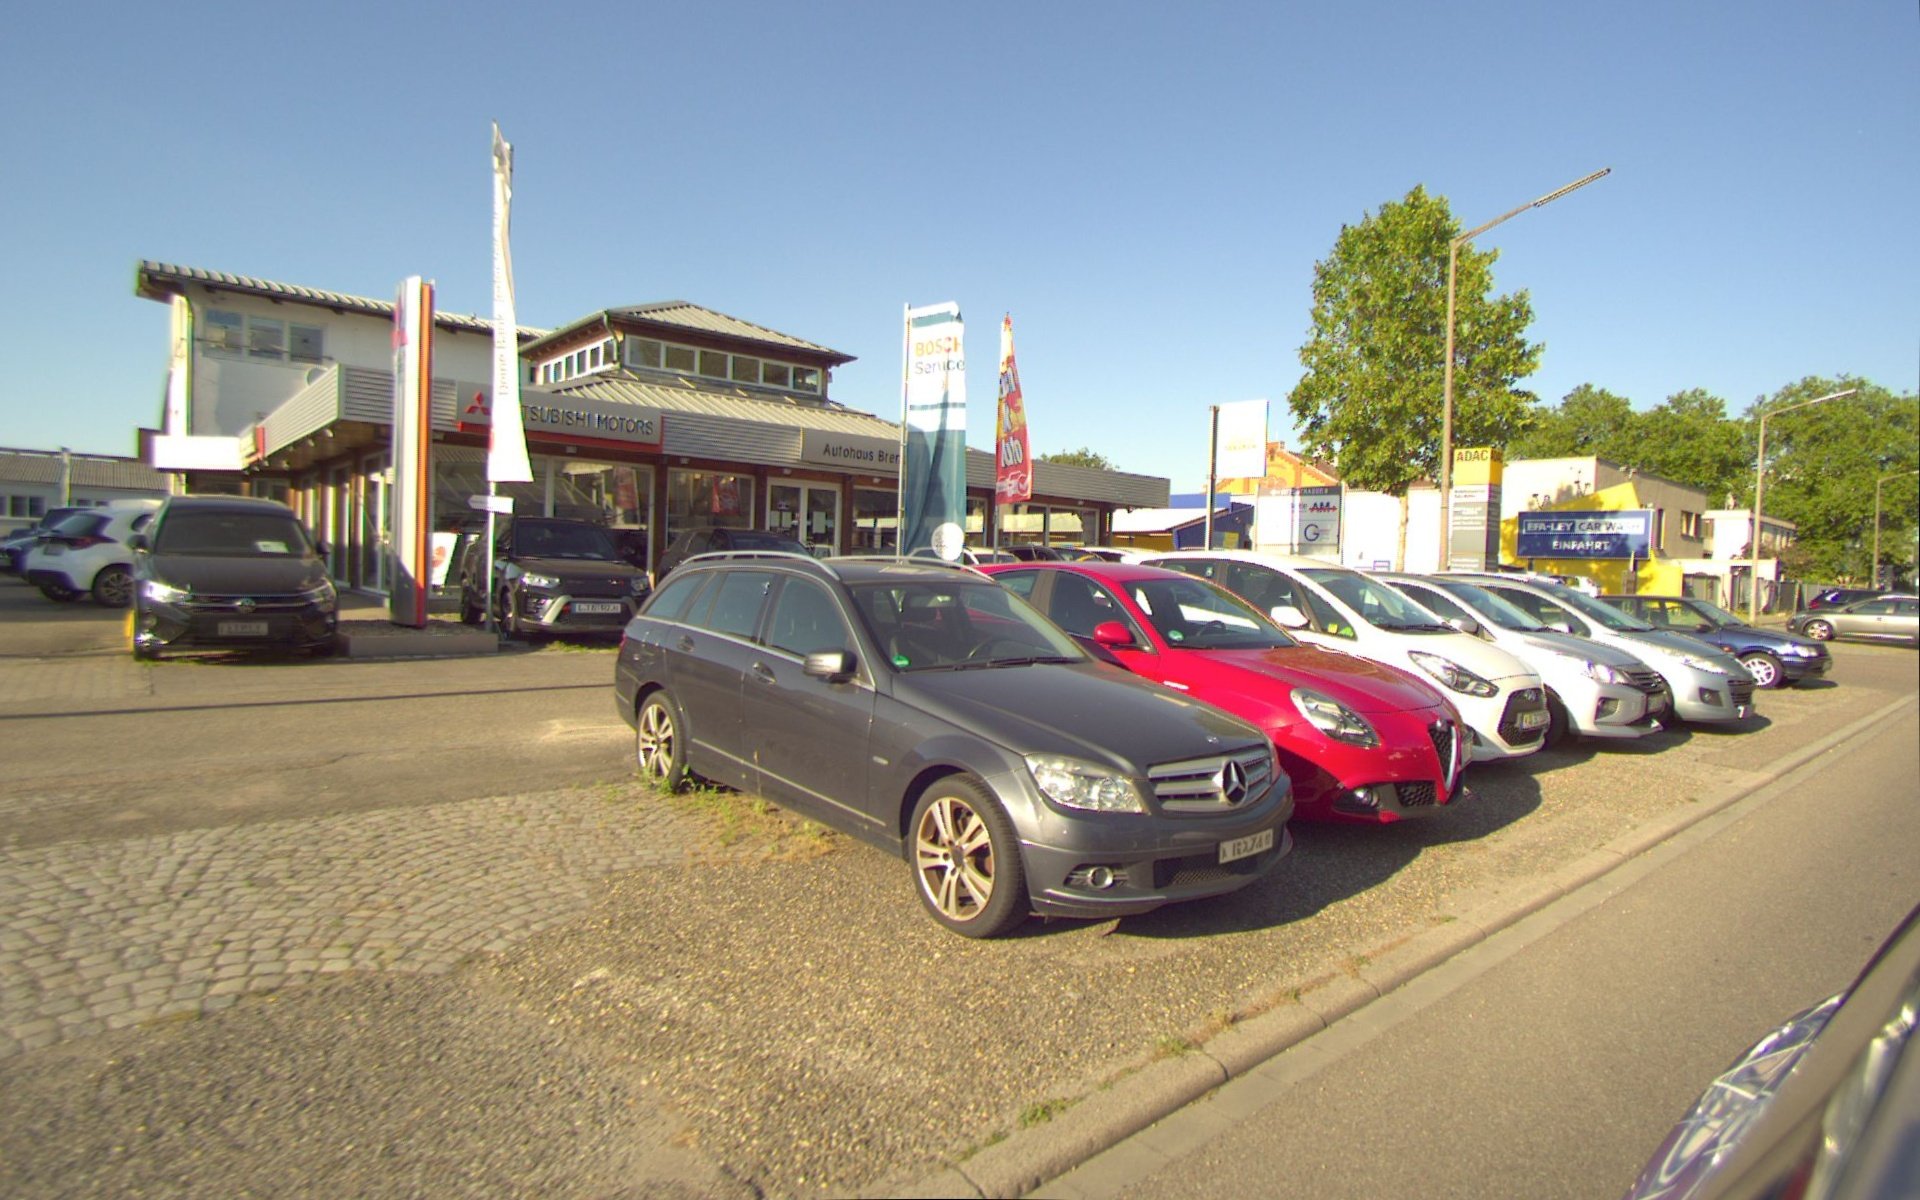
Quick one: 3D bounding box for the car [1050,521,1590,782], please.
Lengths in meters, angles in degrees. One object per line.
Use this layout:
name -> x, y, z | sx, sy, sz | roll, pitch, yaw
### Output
car -> 2.965, 0.292, 8.958 | 1.853, 1.761, 4.112 | 0, 1, -44

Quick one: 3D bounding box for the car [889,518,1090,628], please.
car -> 0.482, -0.585, 19.659 | 1.756, 1.921, 3.911 | -2, 4, -40

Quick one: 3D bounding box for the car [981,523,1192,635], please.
car -> 2.569, -0.479, 21.182 | 2.163, 1.920, 3.810 | 1, 5, -41

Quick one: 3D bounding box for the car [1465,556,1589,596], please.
car -> 22.821, -0.964, 40.826 | 1.921, 1.538, 3.990 | 0, 1, -44

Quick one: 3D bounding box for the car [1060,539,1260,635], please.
car -> 4.496, -0.319, 23.148 | 2.163, 1.922, 3.941 | 4, 0, -41

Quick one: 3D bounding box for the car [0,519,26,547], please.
car -> -56.646, -3.971, 59.895 | 1.657, 1.544, 3.875 | 0, 1, -38

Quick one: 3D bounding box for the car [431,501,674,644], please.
car -> -5.776, -0.475, 14.066 | 1.965, 1.679, 3.997 | 0, 4, -40

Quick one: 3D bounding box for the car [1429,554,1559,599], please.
car -> 20.438, -0.910, 38.821 | 1.967, 1.615, 3.990 | 0, 1, -44

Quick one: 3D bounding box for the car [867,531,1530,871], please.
car -> 1.312, 0.427, 6.992 | 1.716, 1.625, 4.249 | 0, 1, -42

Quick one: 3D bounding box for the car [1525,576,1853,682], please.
car -> 11.822, 0.380, 16.652 | 1.751, 1.311, 4.000 | 0, 4, -38

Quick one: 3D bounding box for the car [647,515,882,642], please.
car -> -3.244, -0.429, 16.226 | 1.965, 1.717, 3.997 | 0, 4, -40

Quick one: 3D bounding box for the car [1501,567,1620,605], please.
car -> 25.552, -0.611, 43.135 | 1.967, 1.515, 3.990 | 0, 1, -44

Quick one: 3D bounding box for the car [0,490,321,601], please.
car -> -13.121, -0.839, 16.800 | 1.977, 1.601, 3.848 | 1, 1, 22

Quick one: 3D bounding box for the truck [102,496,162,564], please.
truck -> -32.135, -2.648, 39.349 | 1.657, 2.438, 4.479 | 0, 1, -38

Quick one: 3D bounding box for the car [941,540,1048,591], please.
car -> 1.220, -1.183, 34.742 | 3.518, 1.653, 1.734 | 1, 1, 8

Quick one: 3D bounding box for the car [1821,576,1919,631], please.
car -> 32.135, 0.195, 33.892 | 1.964, 1.598, 4.617 | 0, 6, -38

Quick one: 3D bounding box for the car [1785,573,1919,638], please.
car -> 27.999, 0.205, 30.408 | 1.965, 1.632, 4.613 | 0, 6, -41

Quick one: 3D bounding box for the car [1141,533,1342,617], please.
car -> 7.089, -0.644, 25.833 | 2.163, 1.922, 4.504 | 0, 2, -41

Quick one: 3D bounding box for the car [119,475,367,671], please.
car -> -8.257, -0.407, 11.482 | 1.965, 1.792, 4.155 | 0, 4, -40

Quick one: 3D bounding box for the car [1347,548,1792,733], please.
car -> 6.831, 0.310, 11.648 | 1.837, 1.607, 3.992 | 0, 4, -44

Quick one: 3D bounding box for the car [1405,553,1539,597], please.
car -> 18.783, -0.923, 37.202 | 1.967, 1.538, 3.990 | 0, 1, -44

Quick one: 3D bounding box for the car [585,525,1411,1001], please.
car -> -0.204, 0.407, 5.634 | 2.098, 1.453, 4.447 | 0, 4, -41

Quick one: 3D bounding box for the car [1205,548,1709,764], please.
car -> 4.842, 0.365, 10.263 | 2.025, 1.637, 4.114 | 0, 3, -44

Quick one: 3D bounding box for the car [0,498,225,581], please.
car -> -17.480, -1.152, 20.428 | 1.977, 1.486, 3.848 | 1, 1, 22
